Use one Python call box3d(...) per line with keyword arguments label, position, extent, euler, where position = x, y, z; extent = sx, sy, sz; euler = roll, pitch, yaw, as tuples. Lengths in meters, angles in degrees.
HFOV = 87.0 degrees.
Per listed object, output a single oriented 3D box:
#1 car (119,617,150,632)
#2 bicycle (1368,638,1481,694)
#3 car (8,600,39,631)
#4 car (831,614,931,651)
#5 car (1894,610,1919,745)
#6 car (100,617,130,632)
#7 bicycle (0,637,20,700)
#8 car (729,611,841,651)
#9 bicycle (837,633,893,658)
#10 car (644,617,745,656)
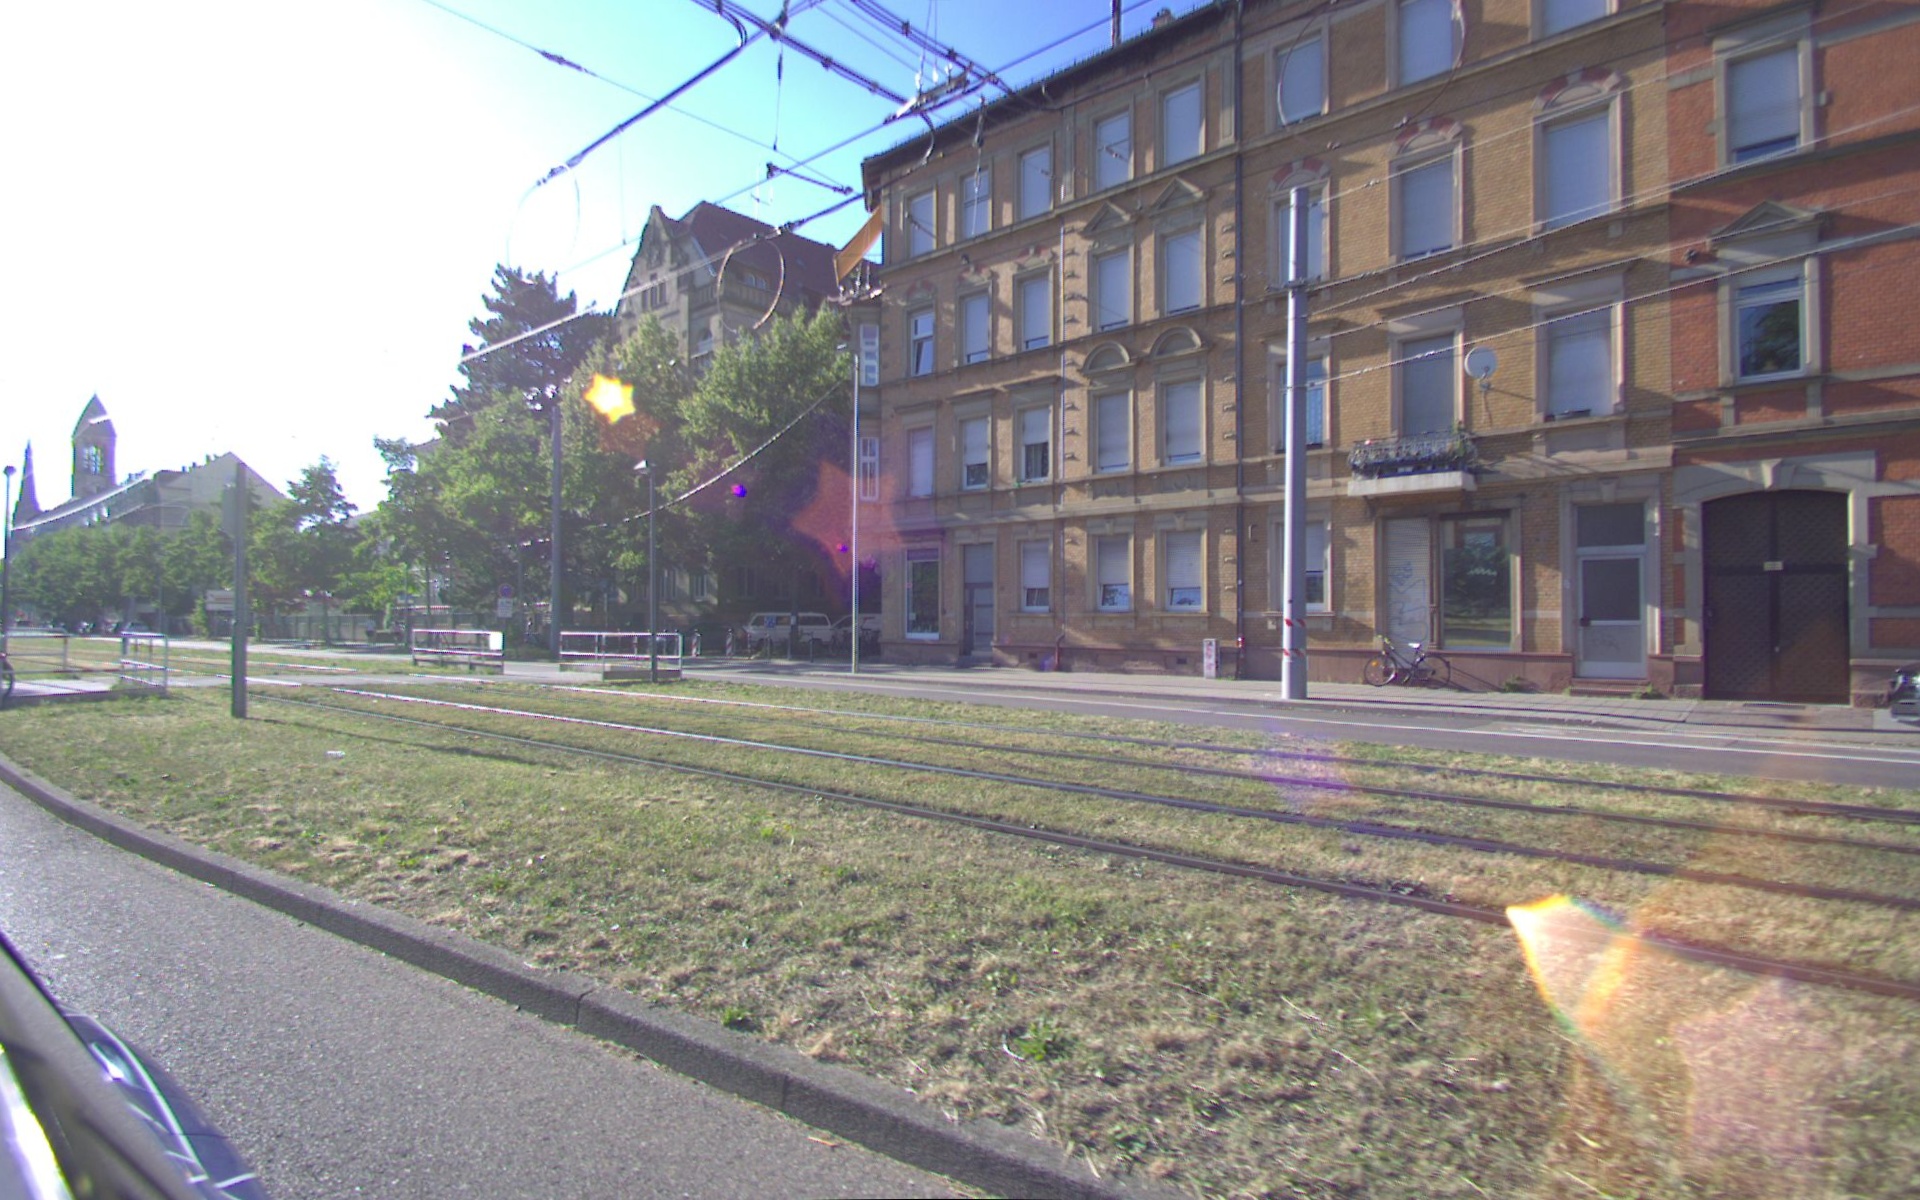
box3d(label="car", position=(-83.182, 2.488, 101.970), extent=(3.998, 1.522, 1.775), euler=(-1, -3, 41))
box3d(label="bicycle", position=(9.380, 1.311, 20.483), extent=(2.010, 1.011, 0.584), euler=(0, 1, 41))
box3d(label="car", position=(-88.307, 1.487, 95.412), extent=(3.999, 2.803, 1.775), euler=(-1, -2, 42))
box3d(label="car", position=(-4.136, 1.682, 53.349), extent=(5.010, 1.838, 2.018), euler=(0, 0, 7))
box3d(label="car", position=(14.112, 0.953, 11.815), extent=(1.774, 1.655, 4.633), euler=(-1, 0, -45))
box3d(label="car", position=(-91.291, 2.655, 109.332), extent=(3.998, 1.522, 1.775), euler=(-1, -3, 41))
box3d(label="bicycle", position=(-15.747, 1.115, 15.519), extent=(0.712, 0.986, 2.061), euler=(-1, 0, 1))
box3d(label="car", position=(-8.455, 1.456, 48.874), extent=(4.983, 1.838, 2.029), euler=(0, 0, -22))
box3d(label="bicycle", position=(-3.680, 1.735, 39.058), extent=(2.067, 0.916, 0.707), euler=(0, 0, 20))
box3d(label="car", position=(-11.552, 1.560, 44.011), extent=(3.931, 1.521, 1.806), euler=(-1, 1, -26))
